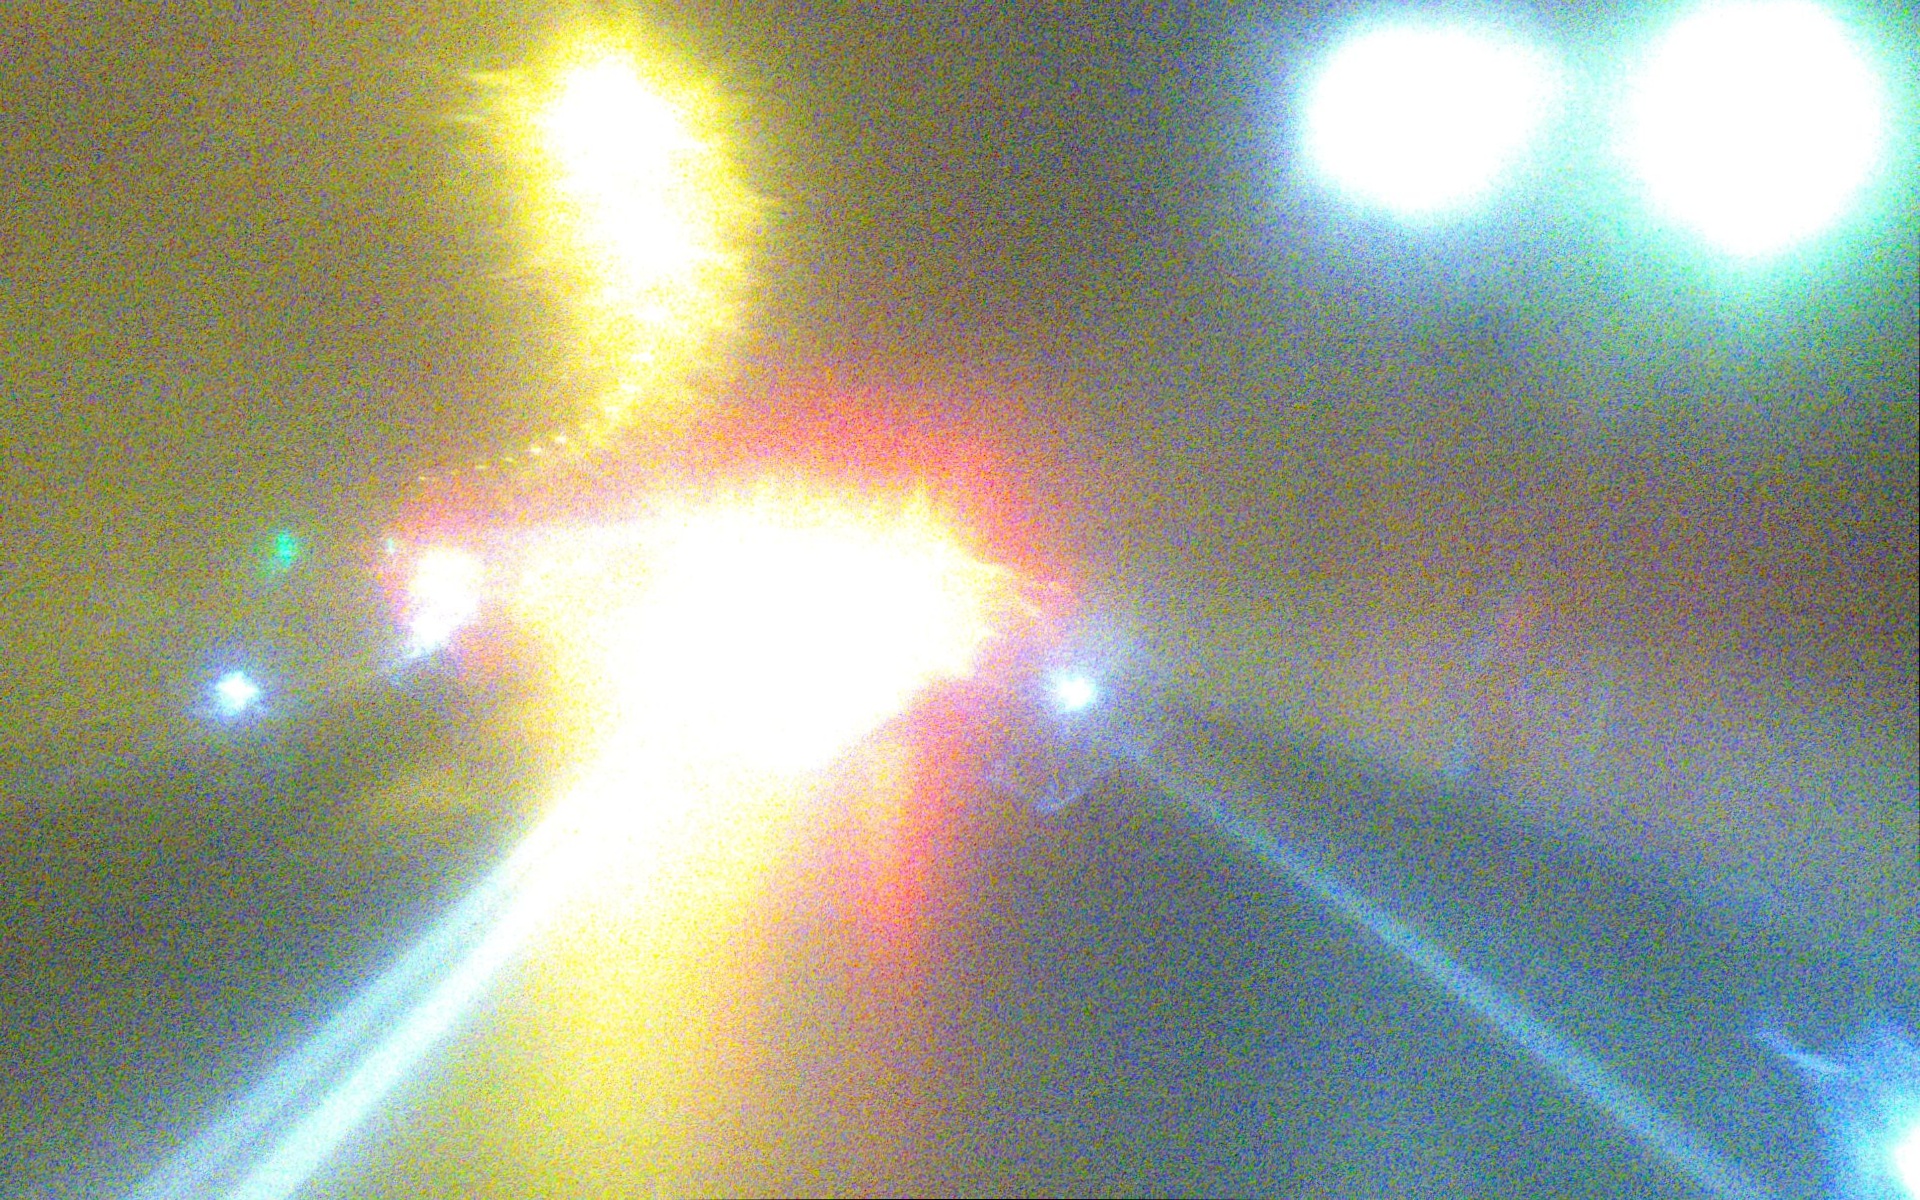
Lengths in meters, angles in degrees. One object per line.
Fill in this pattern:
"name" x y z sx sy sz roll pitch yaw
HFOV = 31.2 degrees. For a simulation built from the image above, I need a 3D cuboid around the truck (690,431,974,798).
"truck" -1.220 0.069 32.866 2.262 3.000 7.416 3 1 -2
